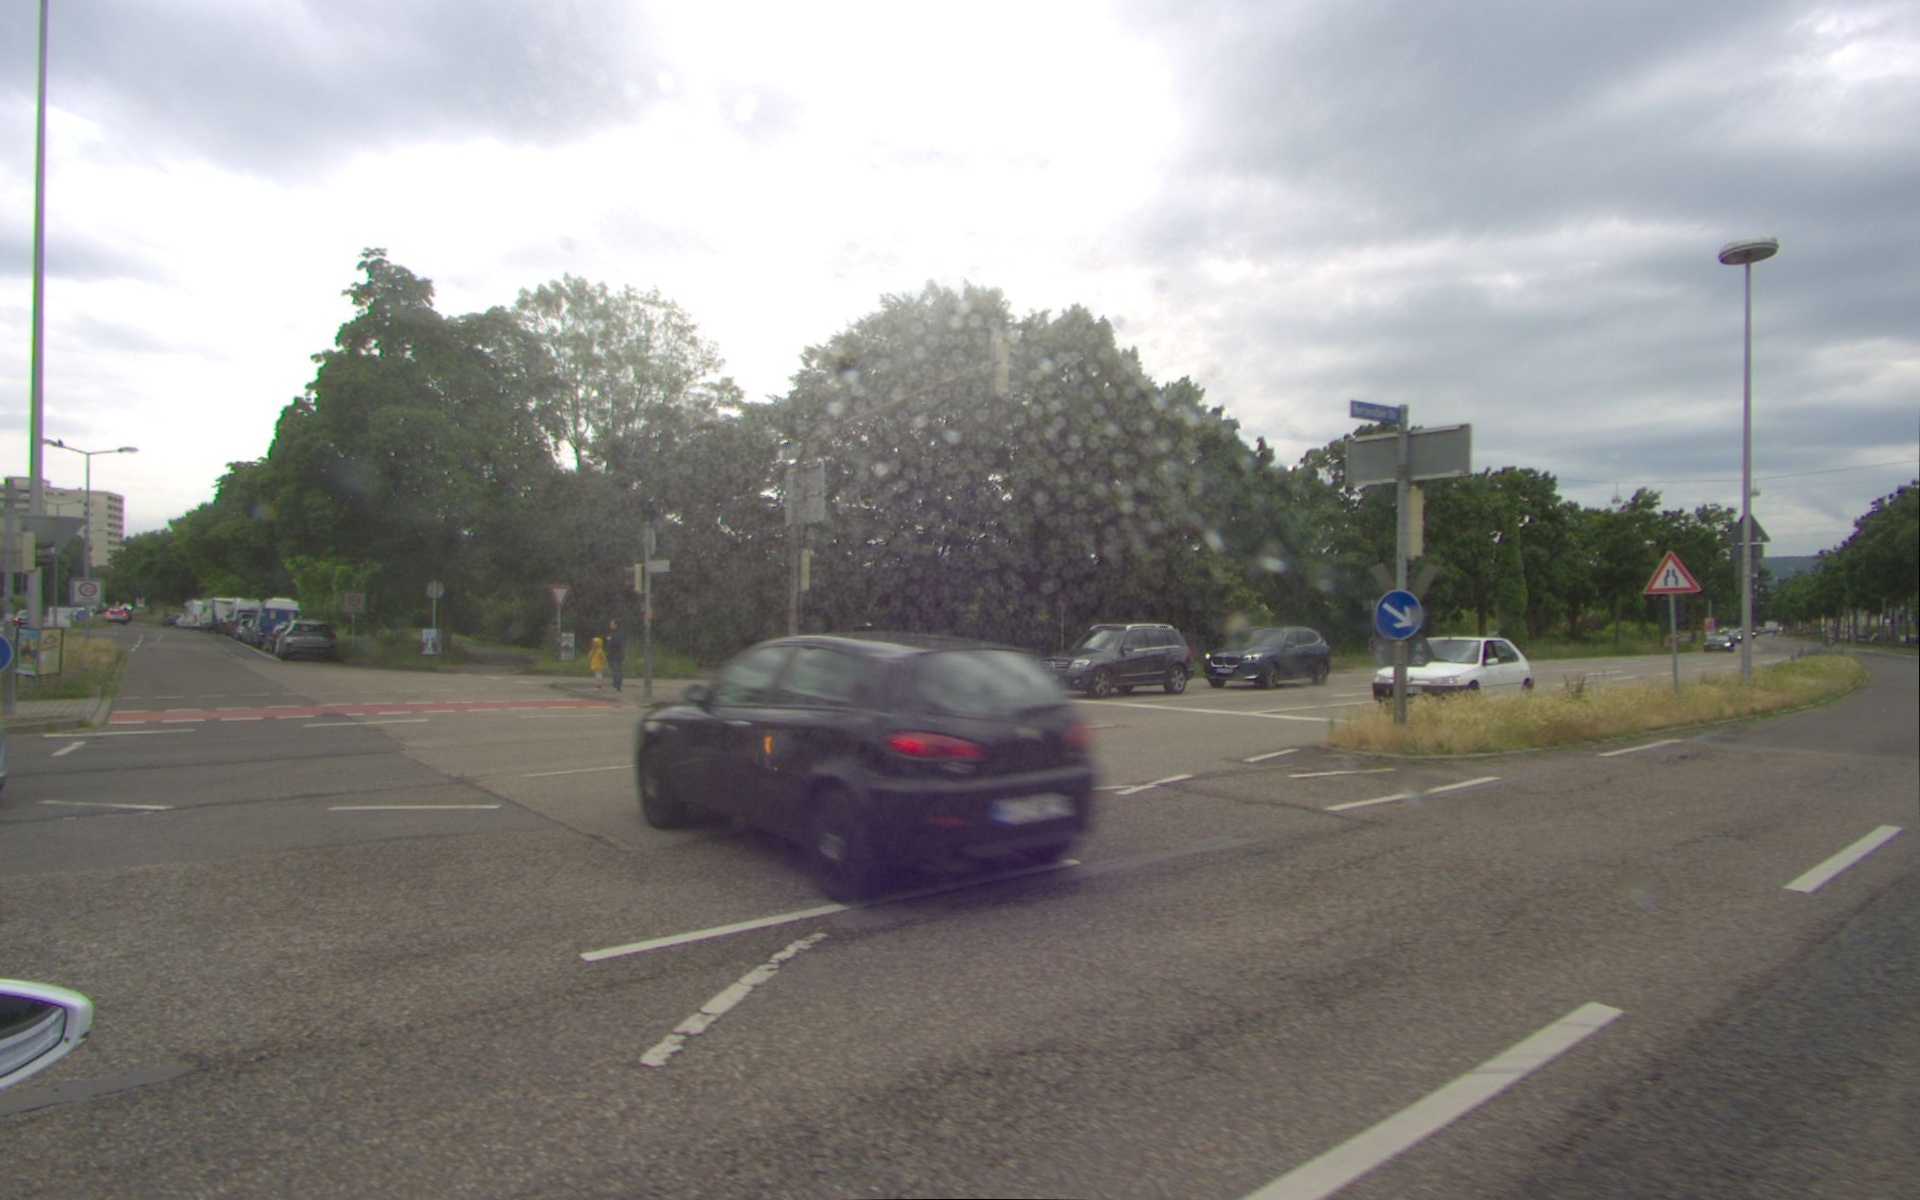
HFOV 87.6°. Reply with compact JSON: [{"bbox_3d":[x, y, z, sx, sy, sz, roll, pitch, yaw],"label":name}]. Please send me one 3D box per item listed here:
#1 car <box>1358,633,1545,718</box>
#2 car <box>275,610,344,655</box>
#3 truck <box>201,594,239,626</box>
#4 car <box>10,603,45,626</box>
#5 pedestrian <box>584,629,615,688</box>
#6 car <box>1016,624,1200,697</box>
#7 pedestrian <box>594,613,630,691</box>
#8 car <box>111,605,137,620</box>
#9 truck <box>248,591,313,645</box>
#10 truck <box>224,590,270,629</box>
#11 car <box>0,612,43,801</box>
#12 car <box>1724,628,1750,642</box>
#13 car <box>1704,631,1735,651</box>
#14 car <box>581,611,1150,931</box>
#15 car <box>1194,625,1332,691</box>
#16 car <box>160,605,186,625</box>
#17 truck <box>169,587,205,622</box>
[{"bbox_3d":[9.241,1.335,18.682,4.105,1.375,1.633,2,-1,-40],"label":"car"},{"bbox_3d":[-25.963,1.269,39.922,1.771,1.683,3.964,1,-1,-41],"label":"car"},{"bbox_3d":[-62.550,0.834,84.581,1.980,2.606,5.328,1,-1,-43],"label":"truck"},{"bbox_3d":[-82.597,1.283,88.738,1.978,2.040,3.966,1,-1,-40],"label":"car"},{"bbox_3d":[-8.499,1.376,23.610,0.523,1.359,0.520,1,0,-41],"label":"pedestrian"},{"bbox_3d":[3.545,1.368,23.534,4.431,1.523,1.830,2,-1,-40],"label":"car"},{"bbox_3d":[-8.052,1.195,23.180,0.652,1.773,0.455,1,0,-41],"label":"pedestrian"},{"bbox_3d":[-89.316,1.372,106.965,2.005,1.525,3.964,1,-1,-41],"label":"car"},{"bbox_3d":[-36.121,0.940,53.155,2.158,2.691,6.191,0,-1,-41],"label":"truck"},{"bbox_3d":[-54.145,0.701,76.037,1.981,2.875,5.674,1,-1,-44],"label":"truck"},{"bbox_3d":[-9.957,0.880,8.591,4.258,1.539,1.788,-1,-1,28],"label":"car"},{"bbox_3d":[92.058,4.163,118.658,3.959,1.594,1.744,1,-1,-42],"label":"car"},{"bbox_3d":[61.735,3.276,81.409,1.643,1.550,3.857,0,-1,42],"label":"car"},{"bbox_3d":[-0.998,0.849,7.054,1.783,1.476,4.502,1,-1,-39],"label":"car"},{"bbox_3d":[8.343,1.528,27.409,3.959,1.639,1.861,1,-1,-42],"label":"car"},{"bbox_3d":[-81.284,1.514,103.416,1.641,1.944,3.878,1,0,-45],"label":"car"},{"bbox_3d":[-70.763,0.447,91.600,1.981,3.048,5.715,1,-1,-44],"label":"truck"}]
